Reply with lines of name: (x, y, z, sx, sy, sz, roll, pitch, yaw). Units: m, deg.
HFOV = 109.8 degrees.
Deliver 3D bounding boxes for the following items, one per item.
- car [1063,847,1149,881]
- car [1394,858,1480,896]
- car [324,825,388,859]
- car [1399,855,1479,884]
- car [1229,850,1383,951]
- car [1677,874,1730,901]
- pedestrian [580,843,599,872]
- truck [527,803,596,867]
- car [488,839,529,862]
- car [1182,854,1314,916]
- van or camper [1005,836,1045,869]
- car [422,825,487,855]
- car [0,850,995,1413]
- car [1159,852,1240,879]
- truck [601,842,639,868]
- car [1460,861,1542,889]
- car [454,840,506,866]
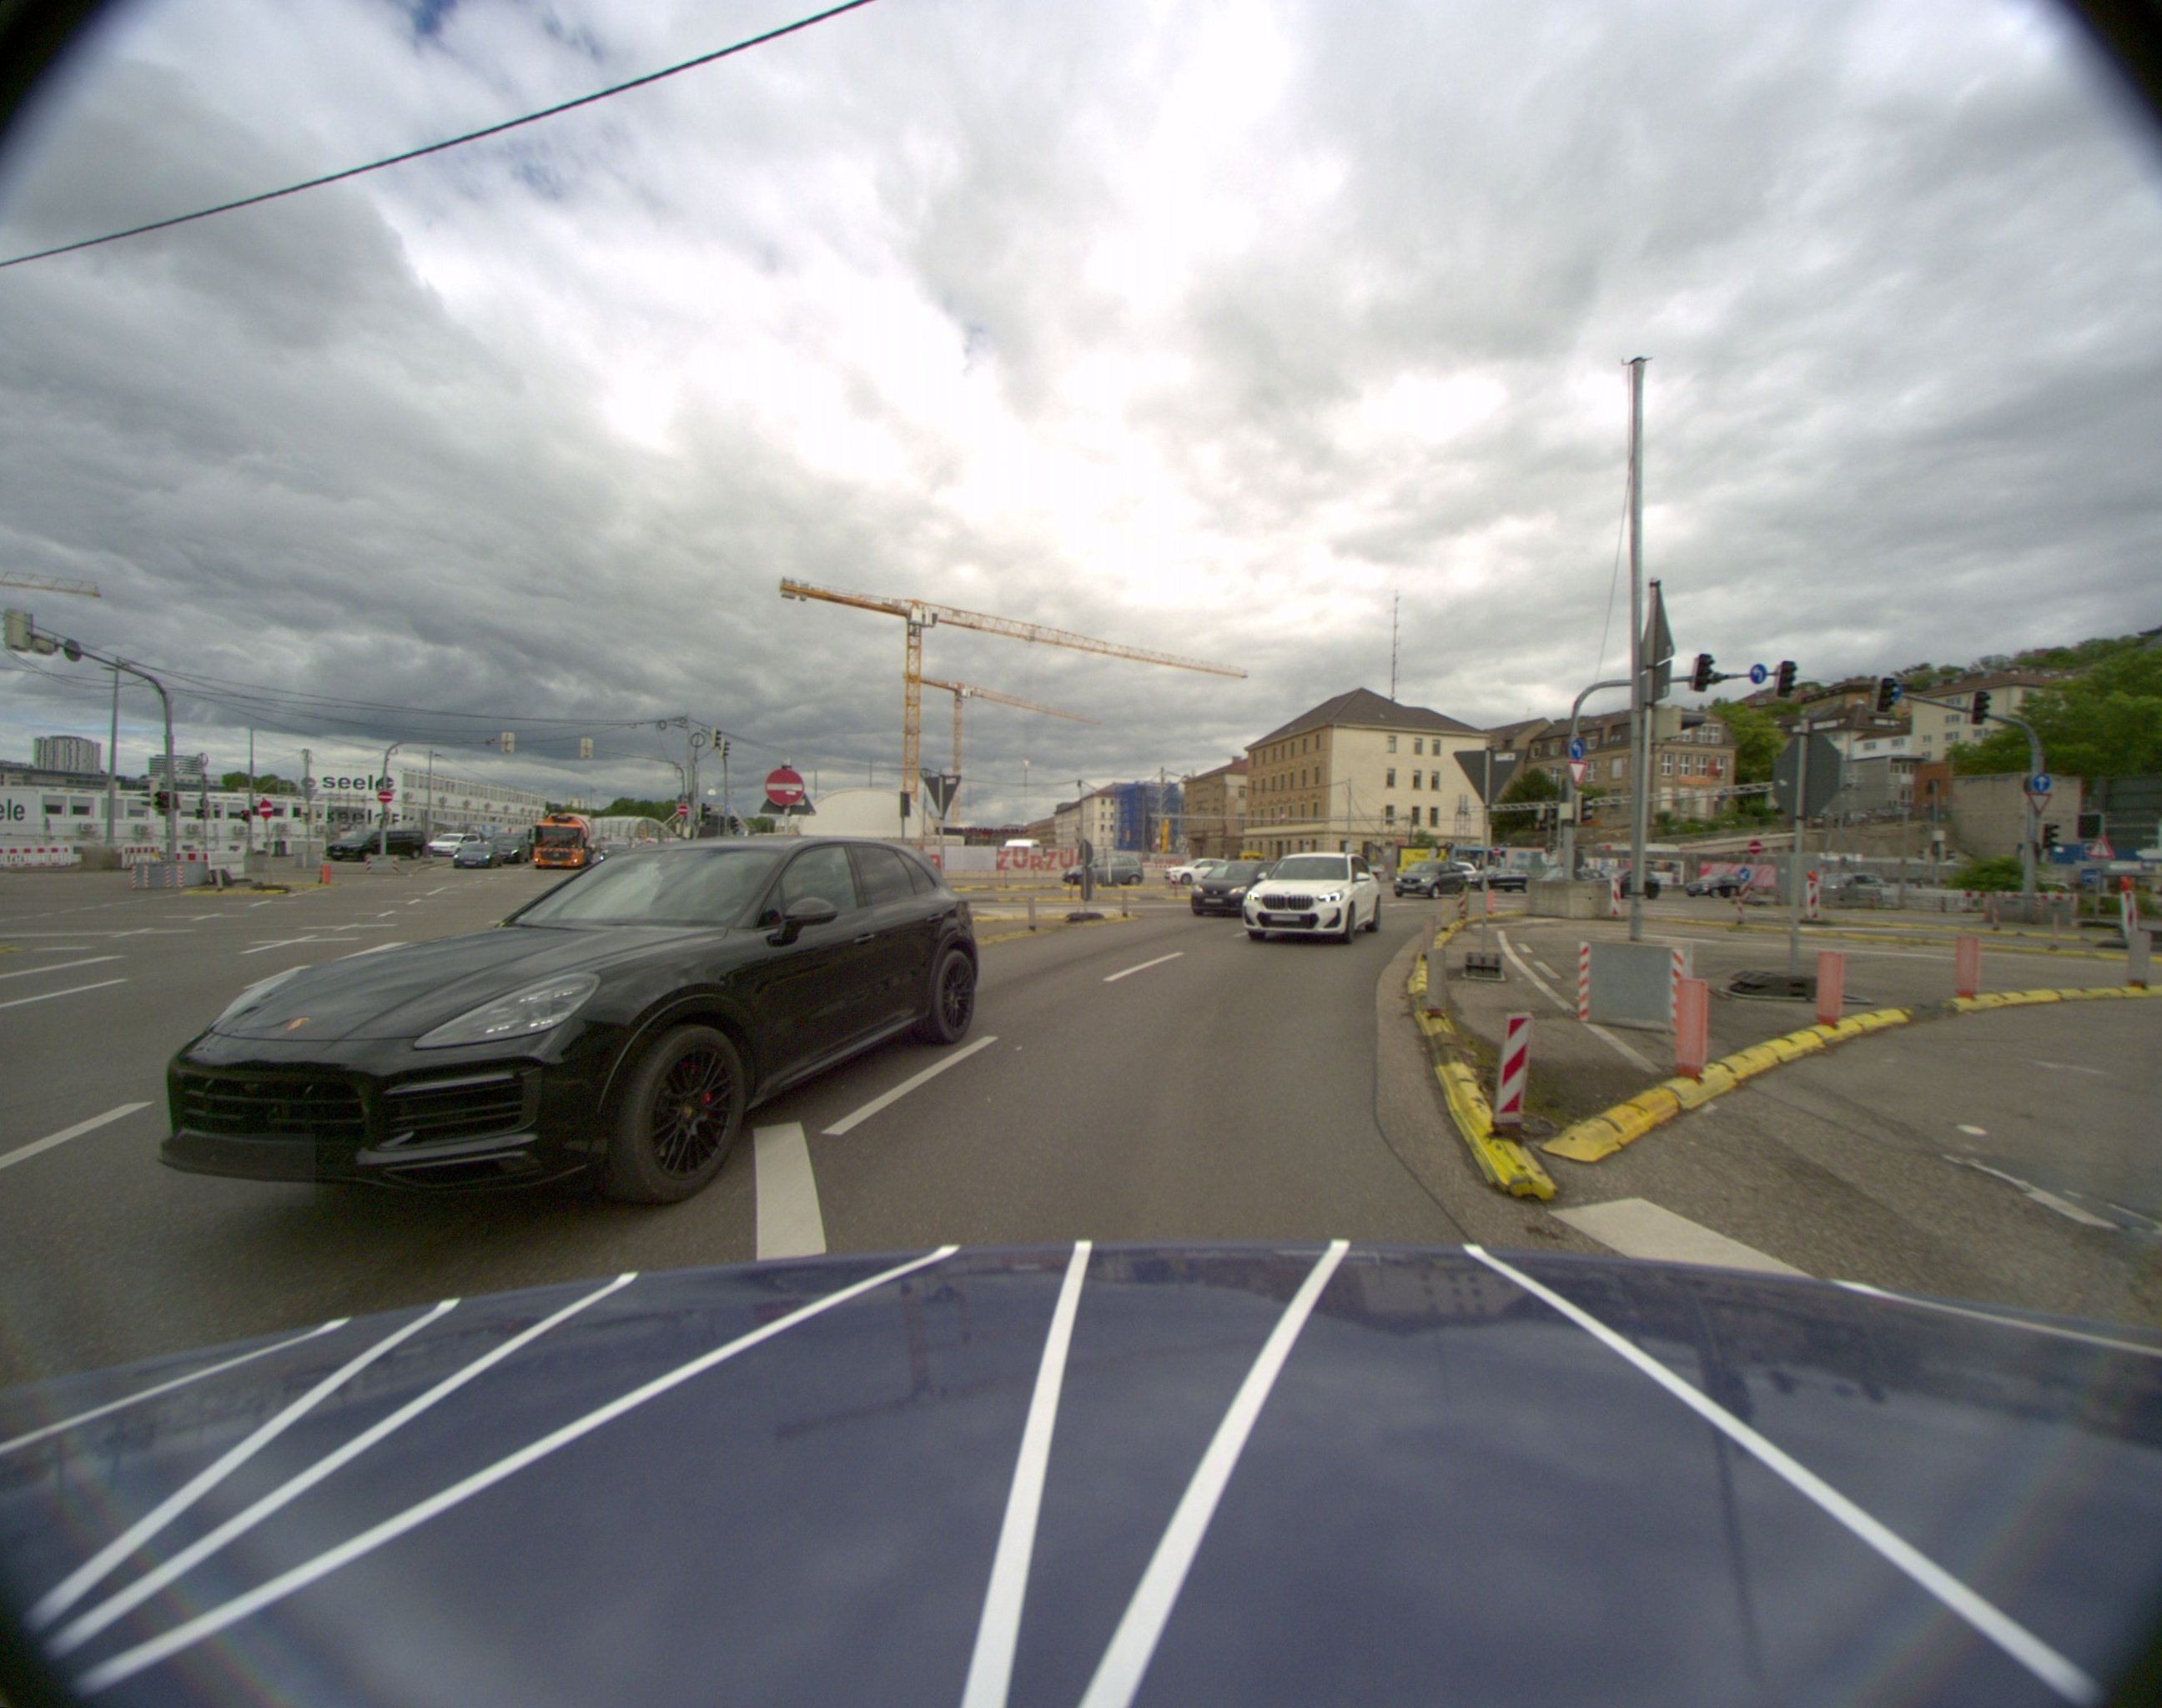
car: (1.227, 0.502, 37.793, 3.956, 1.564, 1.690, 1, 0, -13)
car: (14.615, 0.949, 31.136, 3.578, 1.411, 1.573, 2, 1, -35)
car: (-45.195, -0.727, 47.459, 2.004, 2.001, 3.990, 2, -1, -31)
car: (21.404, 0.946, 45.463, 4.073, 1.564, 1.691, 2, -1, -12)
car: (4.269, 0.740, 14.016, 1.808, 1.595, 3.721, 0, 0, 32)
car: (37.723, 1.983, 46.145, 1.871, 1.412, 4.113, 1, 1, 31)
pedestrian: (-27.222, 0.193, 42.094, 0.852, 1.583, 0.621, 0, 2, -32)
truck: (-33.145, -1.192, 48.798, 2.916, 3.654, 9.003, 1, 1, -30)
car: (-37.854, -0.272, 50.298, 1.655, 1.427, 3.609, 1, 0, -29)
car: (4.734, 0.828, 21.095, 1.729, 1.461, 4.429, 3, 1, 39)
van or camper: (-3.958, -0.147, 54.468, 1.997, 2.215, 4.001, 2, 2, 8)
car: (-45.750, -0.974, 55.574, 2.001, 2.001, 4.159, 2, -1, -14)
car: (-2.335, 0.809, 4.684, 1.953, 1.638, 4.614, 0, 0, 16)
car: (6.590, 0.658, 42.344, 4.088, 1.407, 1.691, 1, 0, -11)
truck: (-29.060, 0.044, 47.982, 1.829, 1.531, 3.752, 1, 0, -28)
car: (23.639, 1.188, 42.823, 3.703, 1.381, 1.727, 3, 1, -7)
car: (-35.529, -0.073, 45.025, 1.790, 1.427, 4.058, 1, 0, -29)
